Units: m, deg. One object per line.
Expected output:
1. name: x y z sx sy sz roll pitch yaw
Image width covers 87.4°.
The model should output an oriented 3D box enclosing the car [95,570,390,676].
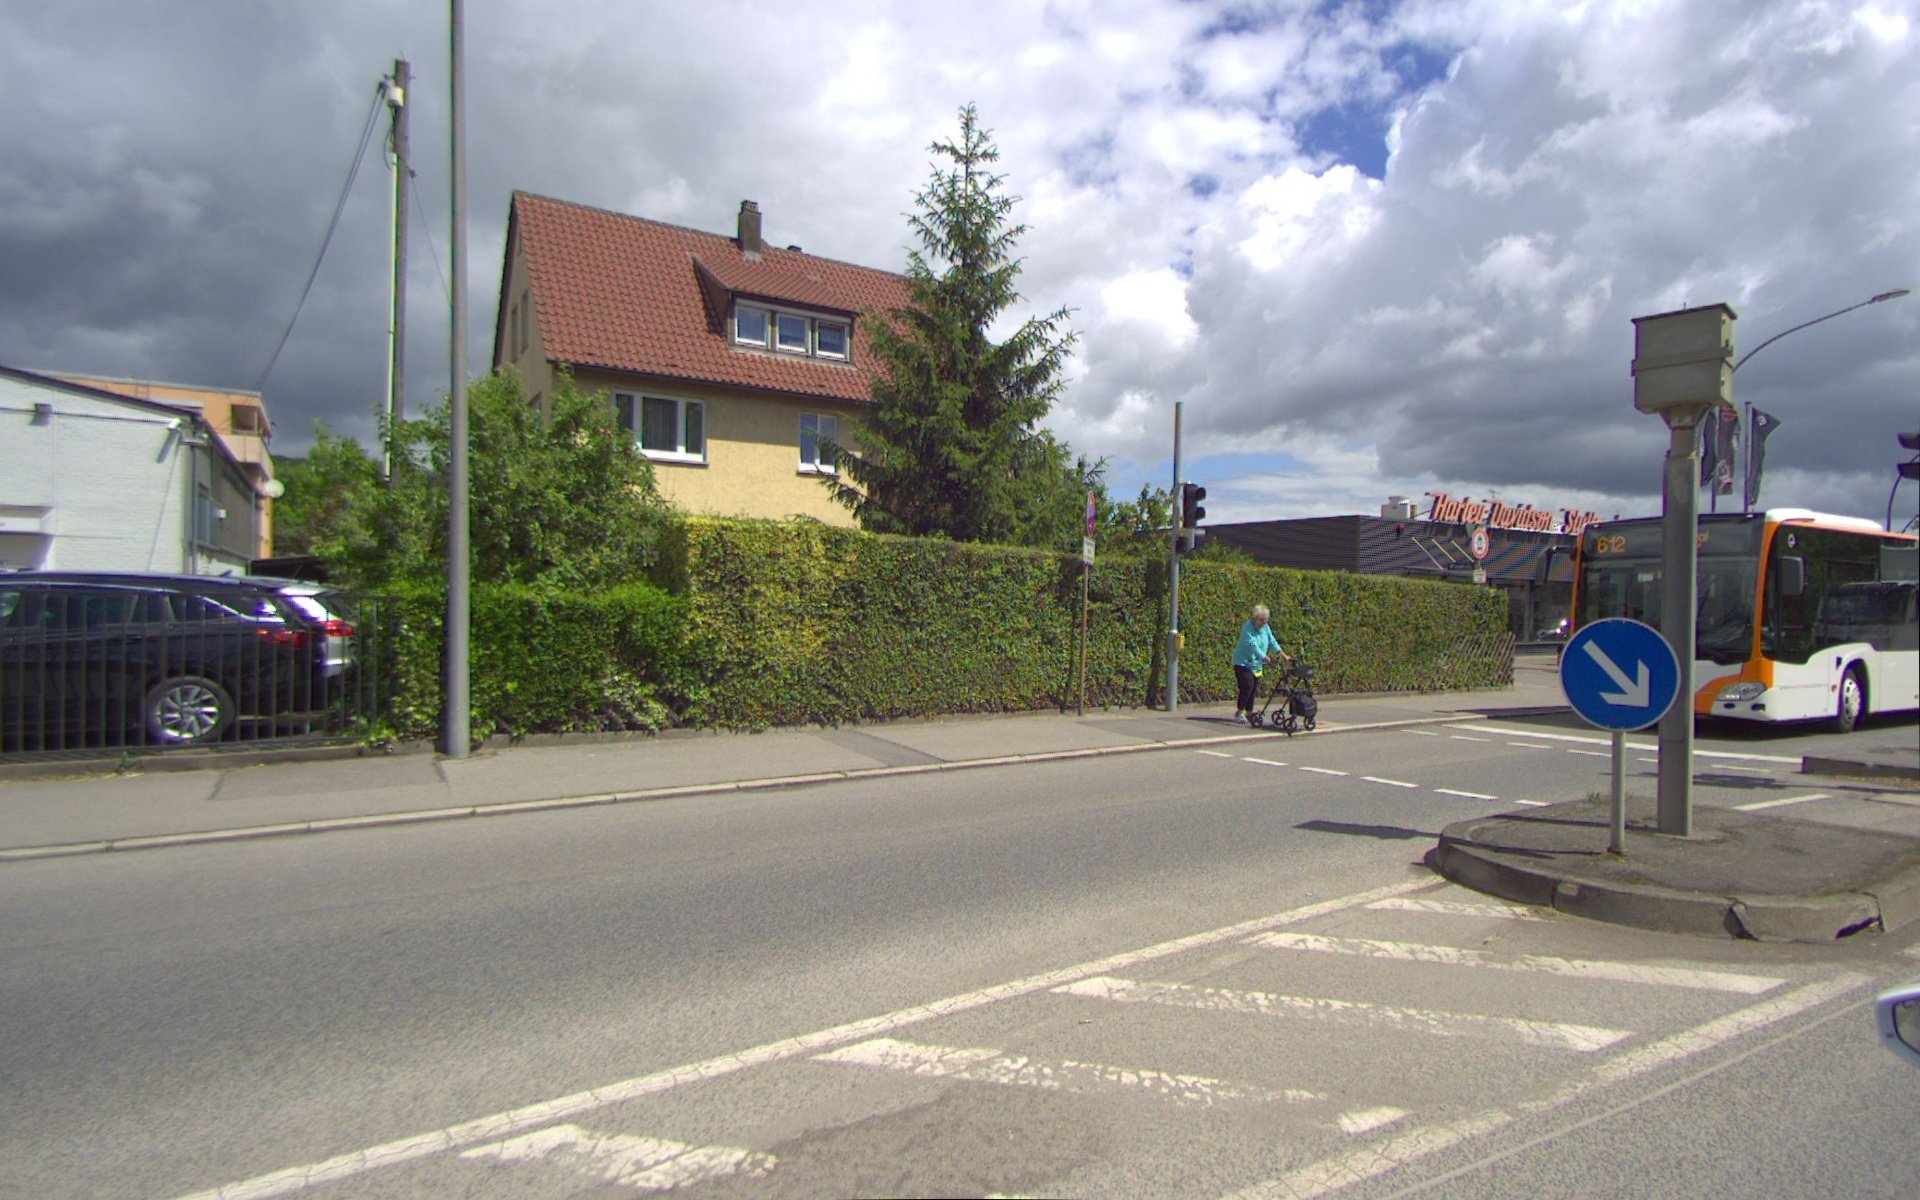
1. car: -12.288 0.398 17.433 3.963 1.639 1.763 1 -1 -37

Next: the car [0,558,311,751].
1. car: -8.211 0.428 8.769 4.224 1.527 2.140 1 -1 -35

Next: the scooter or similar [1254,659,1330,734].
1. scooter or similar: 4.144 1.192 12.548 0.652 0.843 0.608 1 2 -31

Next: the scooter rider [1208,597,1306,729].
1. scooter rider: 3.845 0.789 13.020 0.787 1.611 0.873 1 2 -31

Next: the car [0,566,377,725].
1. car: -8.974 0.453 11.111 4.224 1.527 2.140 1 0 -35

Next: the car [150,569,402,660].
1. car: -13.432 0.297 19.908 3.963 1.639 1.763 1 -1 -37

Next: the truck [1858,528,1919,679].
1. truck: 30.079 0.201 30.511 9.068 4.186 2.410 2 2 -38

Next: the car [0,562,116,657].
1. car: -17.490 0.153 17.621 3.963 1.639 1.763 1 -1 -37

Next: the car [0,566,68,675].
1. car: -15.988 0.280 14.892 3.963 1.639 1.763 1 -1 -37

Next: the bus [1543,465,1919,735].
1. bus: 14.405 0.168 16.537 11.980 3.309 2.765 2 -1 -30

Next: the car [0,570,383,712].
1. car: -10.038 0.505 13.380 3.959 1.639 1.765 1 -1 -34

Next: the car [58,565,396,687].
1. car: -10.984 0.391 15.384 3.959 1.639 1.765 1 -1 -34
